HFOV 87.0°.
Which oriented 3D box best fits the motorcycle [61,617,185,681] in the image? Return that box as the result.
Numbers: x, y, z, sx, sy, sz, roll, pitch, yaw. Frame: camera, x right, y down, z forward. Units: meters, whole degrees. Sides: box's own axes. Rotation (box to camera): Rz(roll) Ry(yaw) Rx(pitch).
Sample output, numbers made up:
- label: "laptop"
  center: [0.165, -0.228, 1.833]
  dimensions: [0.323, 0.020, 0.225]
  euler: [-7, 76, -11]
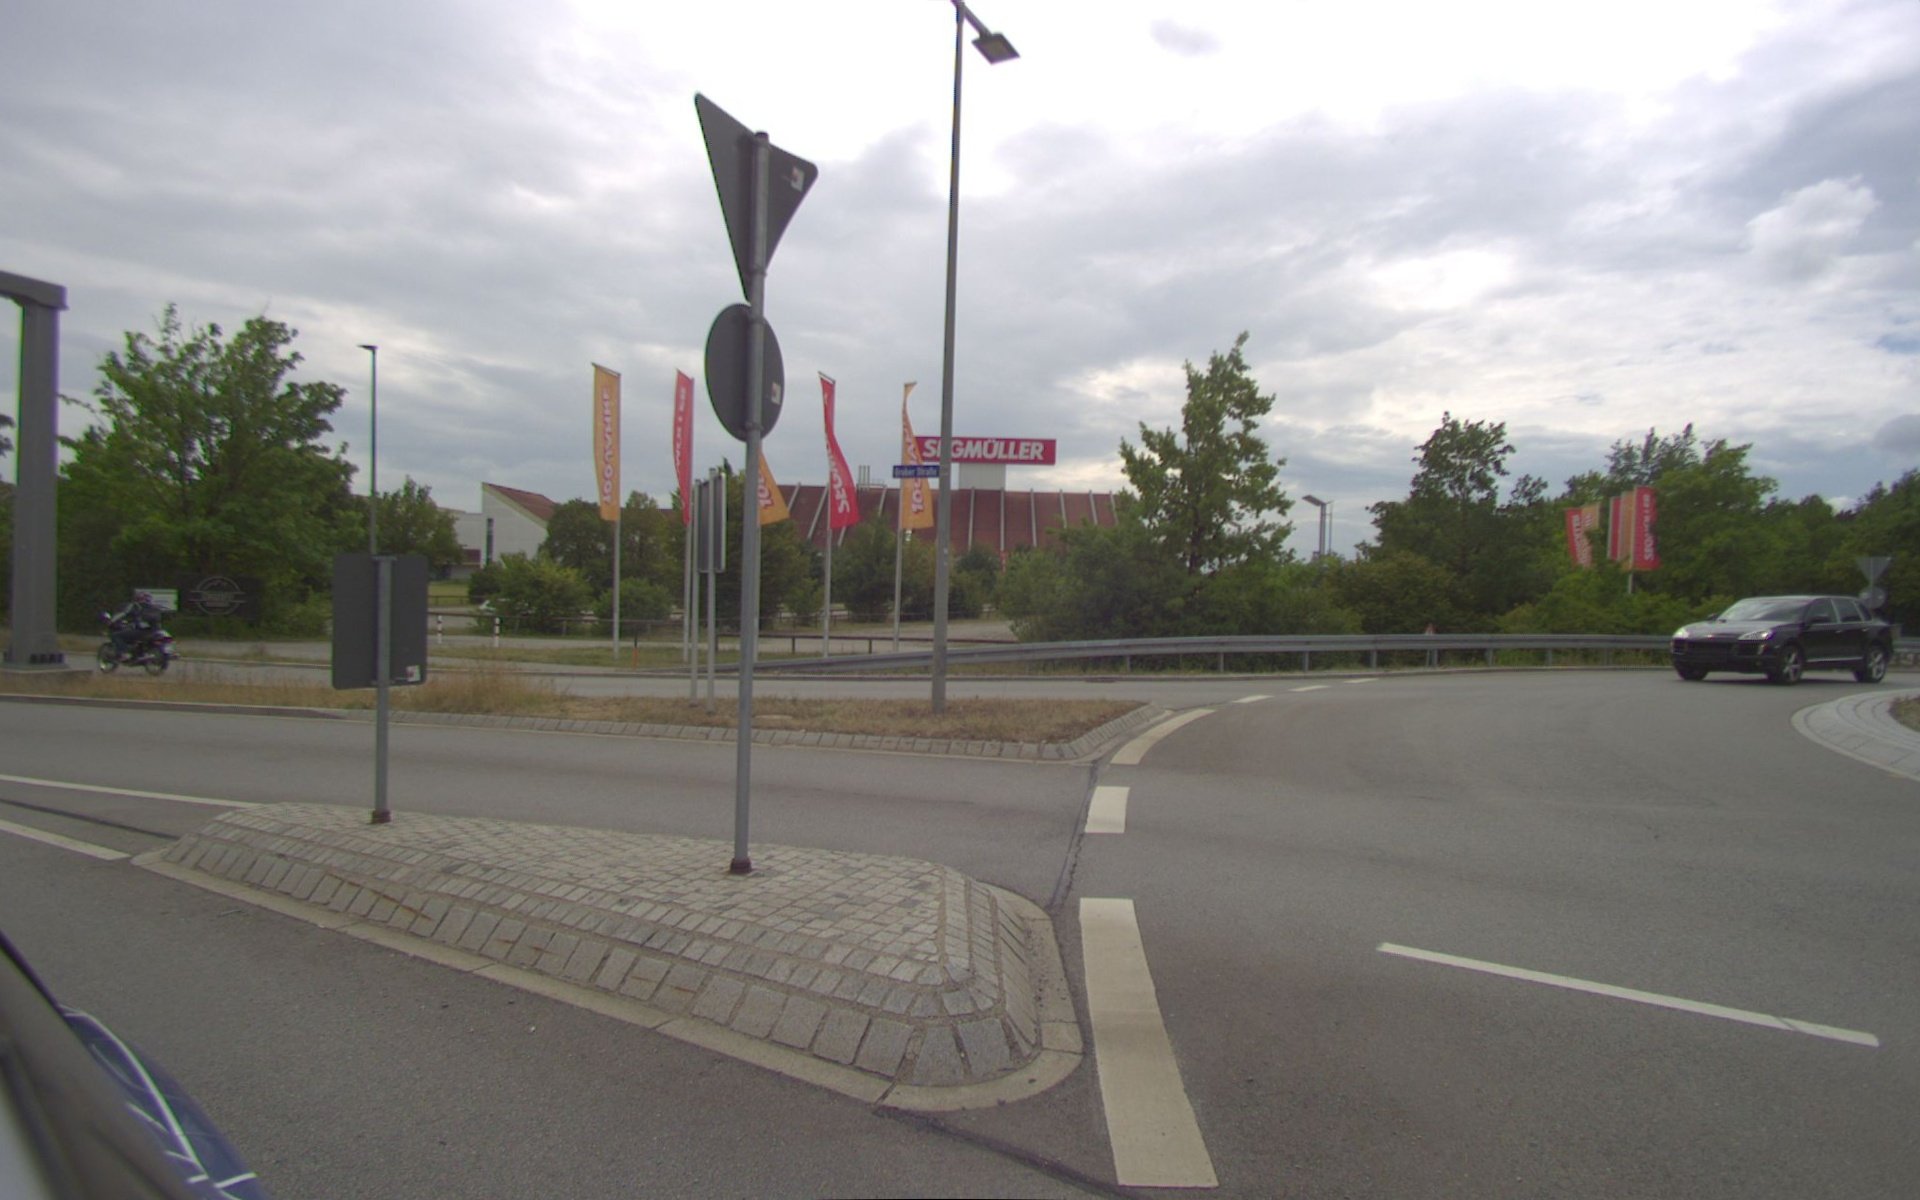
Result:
- label: "motorcycle"
  center: [-16.839, 0.977, 20.357]
  dimensions: [2.226, 1.239, 0.701]
  euler: [-1, 0, 12]

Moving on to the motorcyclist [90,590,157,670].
- label: "motorcyclist"
  center: [-16.830, 0.598, 20.374]
  dimensions: [0.838, 1.588, 0.672]
  euler: [-1, 0, 12]

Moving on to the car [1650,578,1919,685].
- label: "car"
  center: [16.365, 0.526, 19.838]
  dimensions: [4.964, 1.804, 2.112]
  euler: [-1, 2, -18]
